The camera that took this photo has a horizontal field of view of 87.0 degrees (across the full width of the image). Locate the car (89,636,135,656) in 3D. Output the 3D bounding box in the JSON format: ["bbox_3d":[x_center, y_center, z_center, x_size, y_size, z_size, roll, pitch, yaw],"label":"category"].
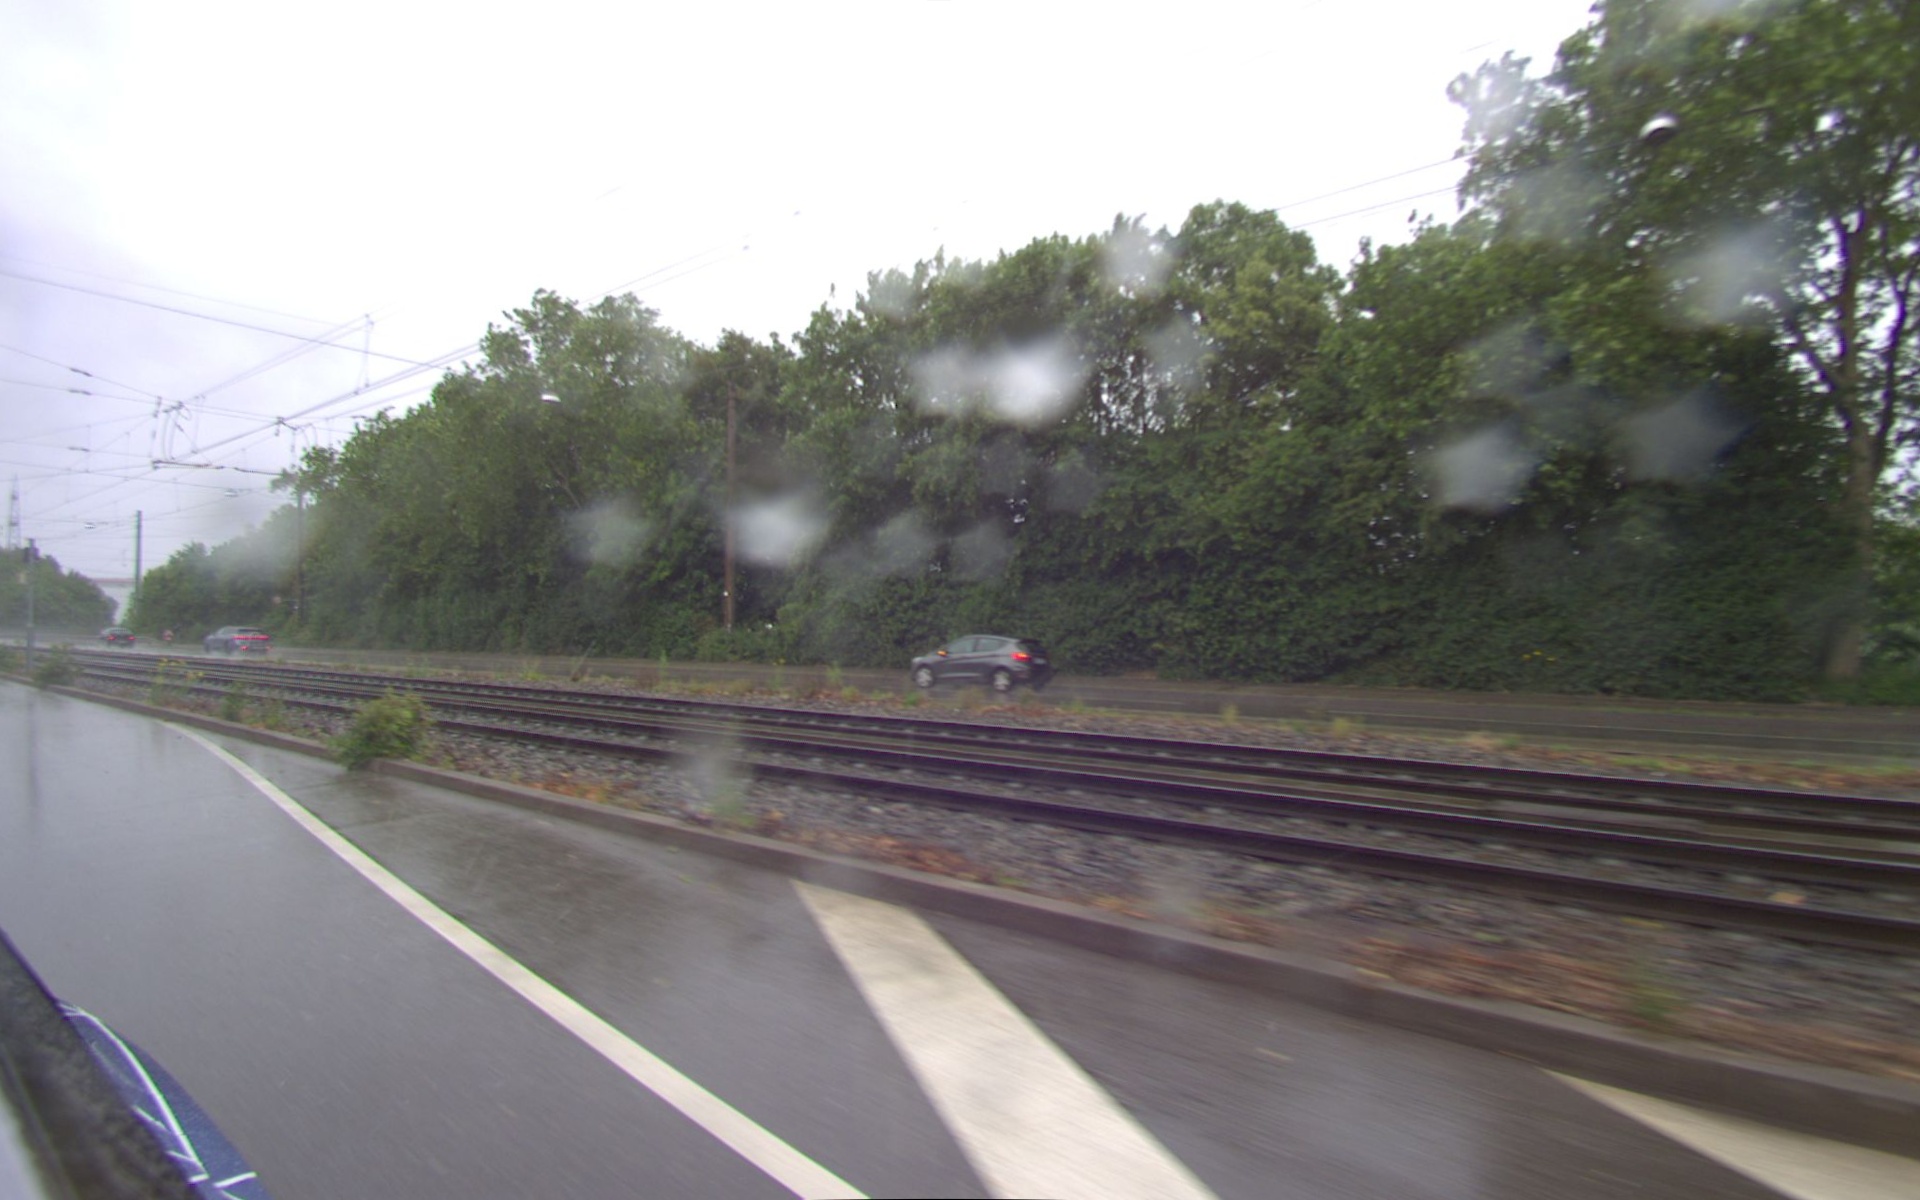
[{"bbox_3d":[-62.010,3.335,74.013,4.374,1.340,1.754,-2,-2,39],"label":"car"}]

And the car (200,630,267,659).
[{"bbox_3d":[-39.741,2.409,55.292,4.949,1.535,1.674,-1,-2,38],"label":"car"}]

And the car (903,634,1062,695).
[{"bbox_3d":[0.537,1.605,26.265,3.935,1.417,1.666,-1,-1,39],"label":"car"}]
